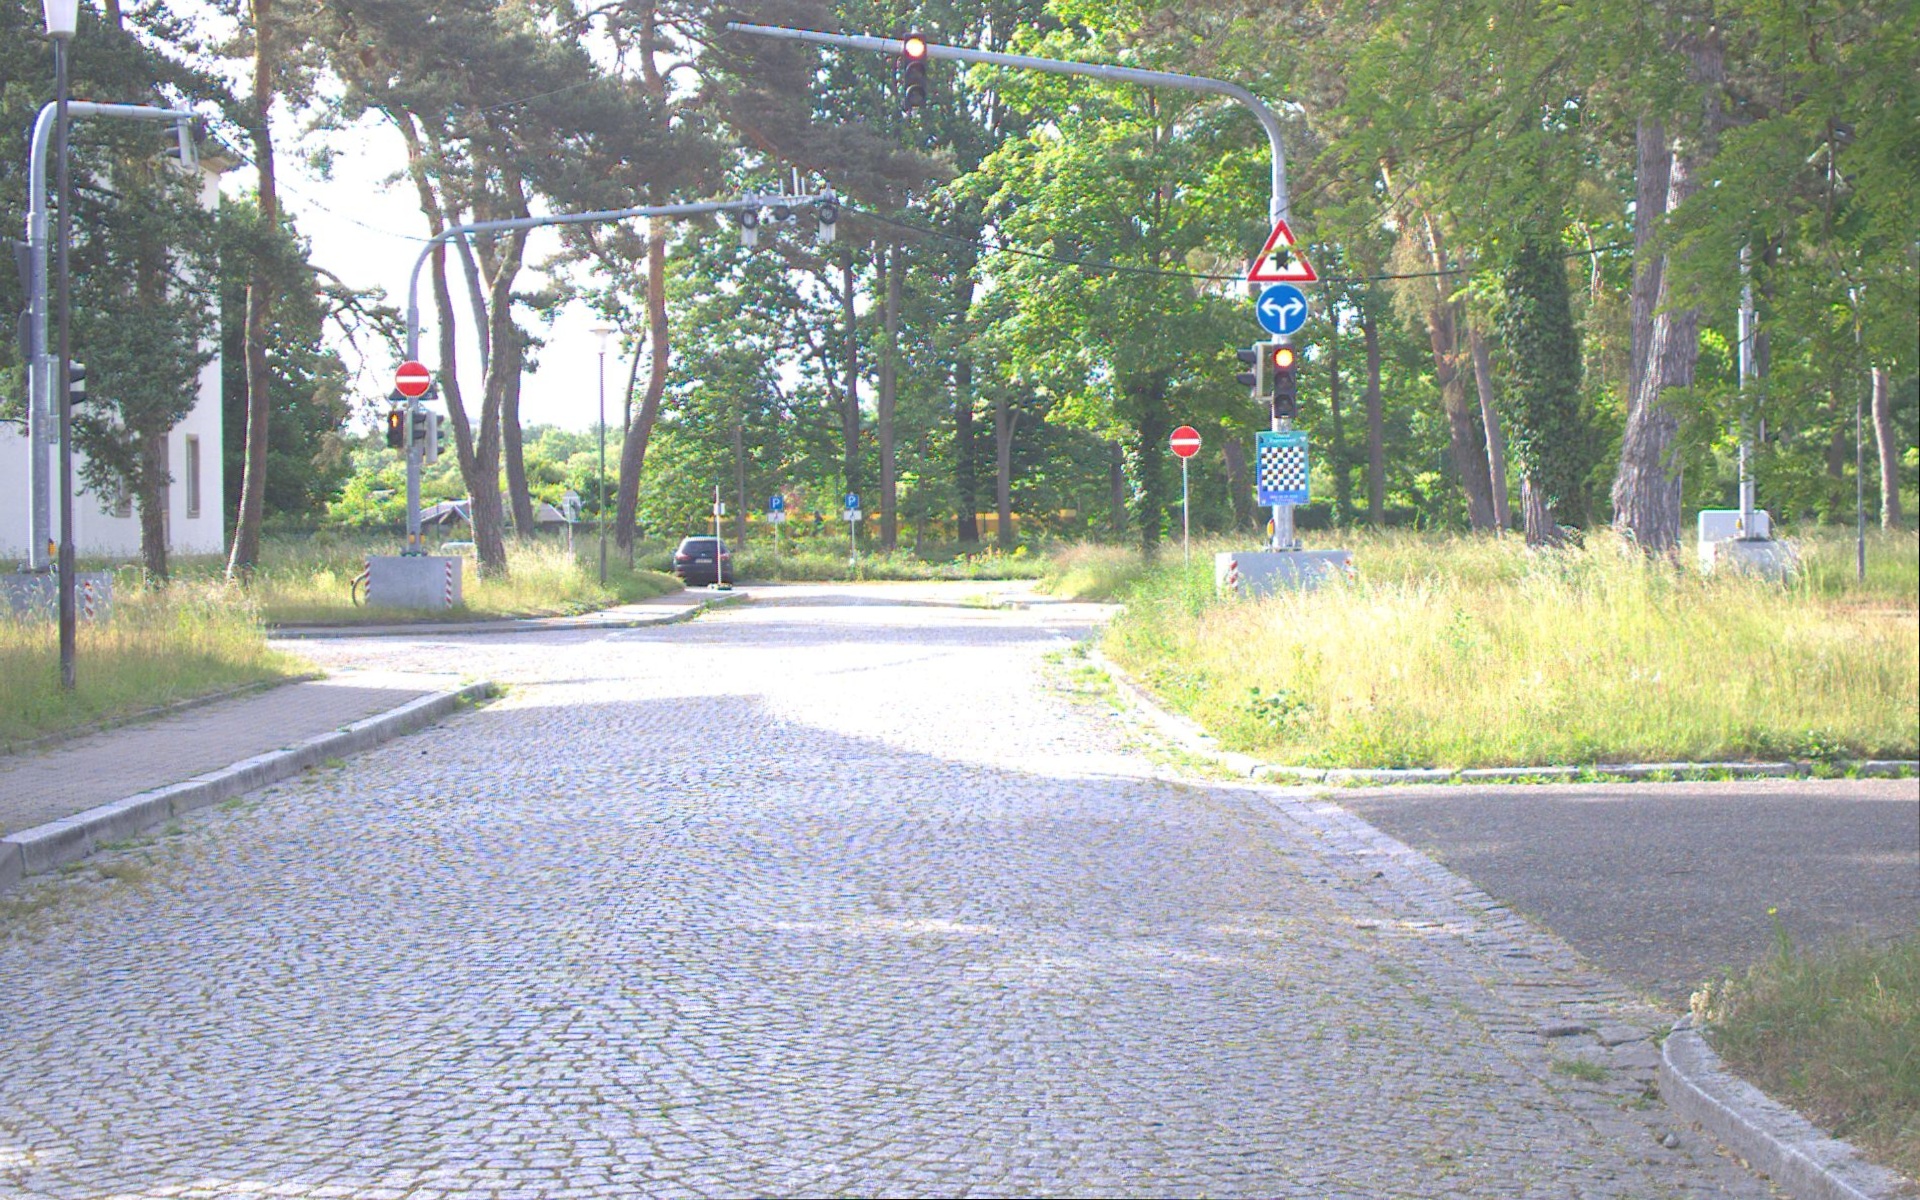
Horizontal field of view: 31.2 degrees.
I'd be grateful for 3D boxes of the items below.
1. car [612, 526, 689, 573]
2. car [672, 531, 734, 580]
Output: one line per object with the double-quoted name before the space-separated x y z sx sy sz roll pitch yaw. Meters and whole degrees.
"car" -10.096 -1.672 112.394 1.783 1.485 3.754 0 1 6
"car" -8.030 -1.418 107.643 1.844 1.481 4.001 -1 1 -3
